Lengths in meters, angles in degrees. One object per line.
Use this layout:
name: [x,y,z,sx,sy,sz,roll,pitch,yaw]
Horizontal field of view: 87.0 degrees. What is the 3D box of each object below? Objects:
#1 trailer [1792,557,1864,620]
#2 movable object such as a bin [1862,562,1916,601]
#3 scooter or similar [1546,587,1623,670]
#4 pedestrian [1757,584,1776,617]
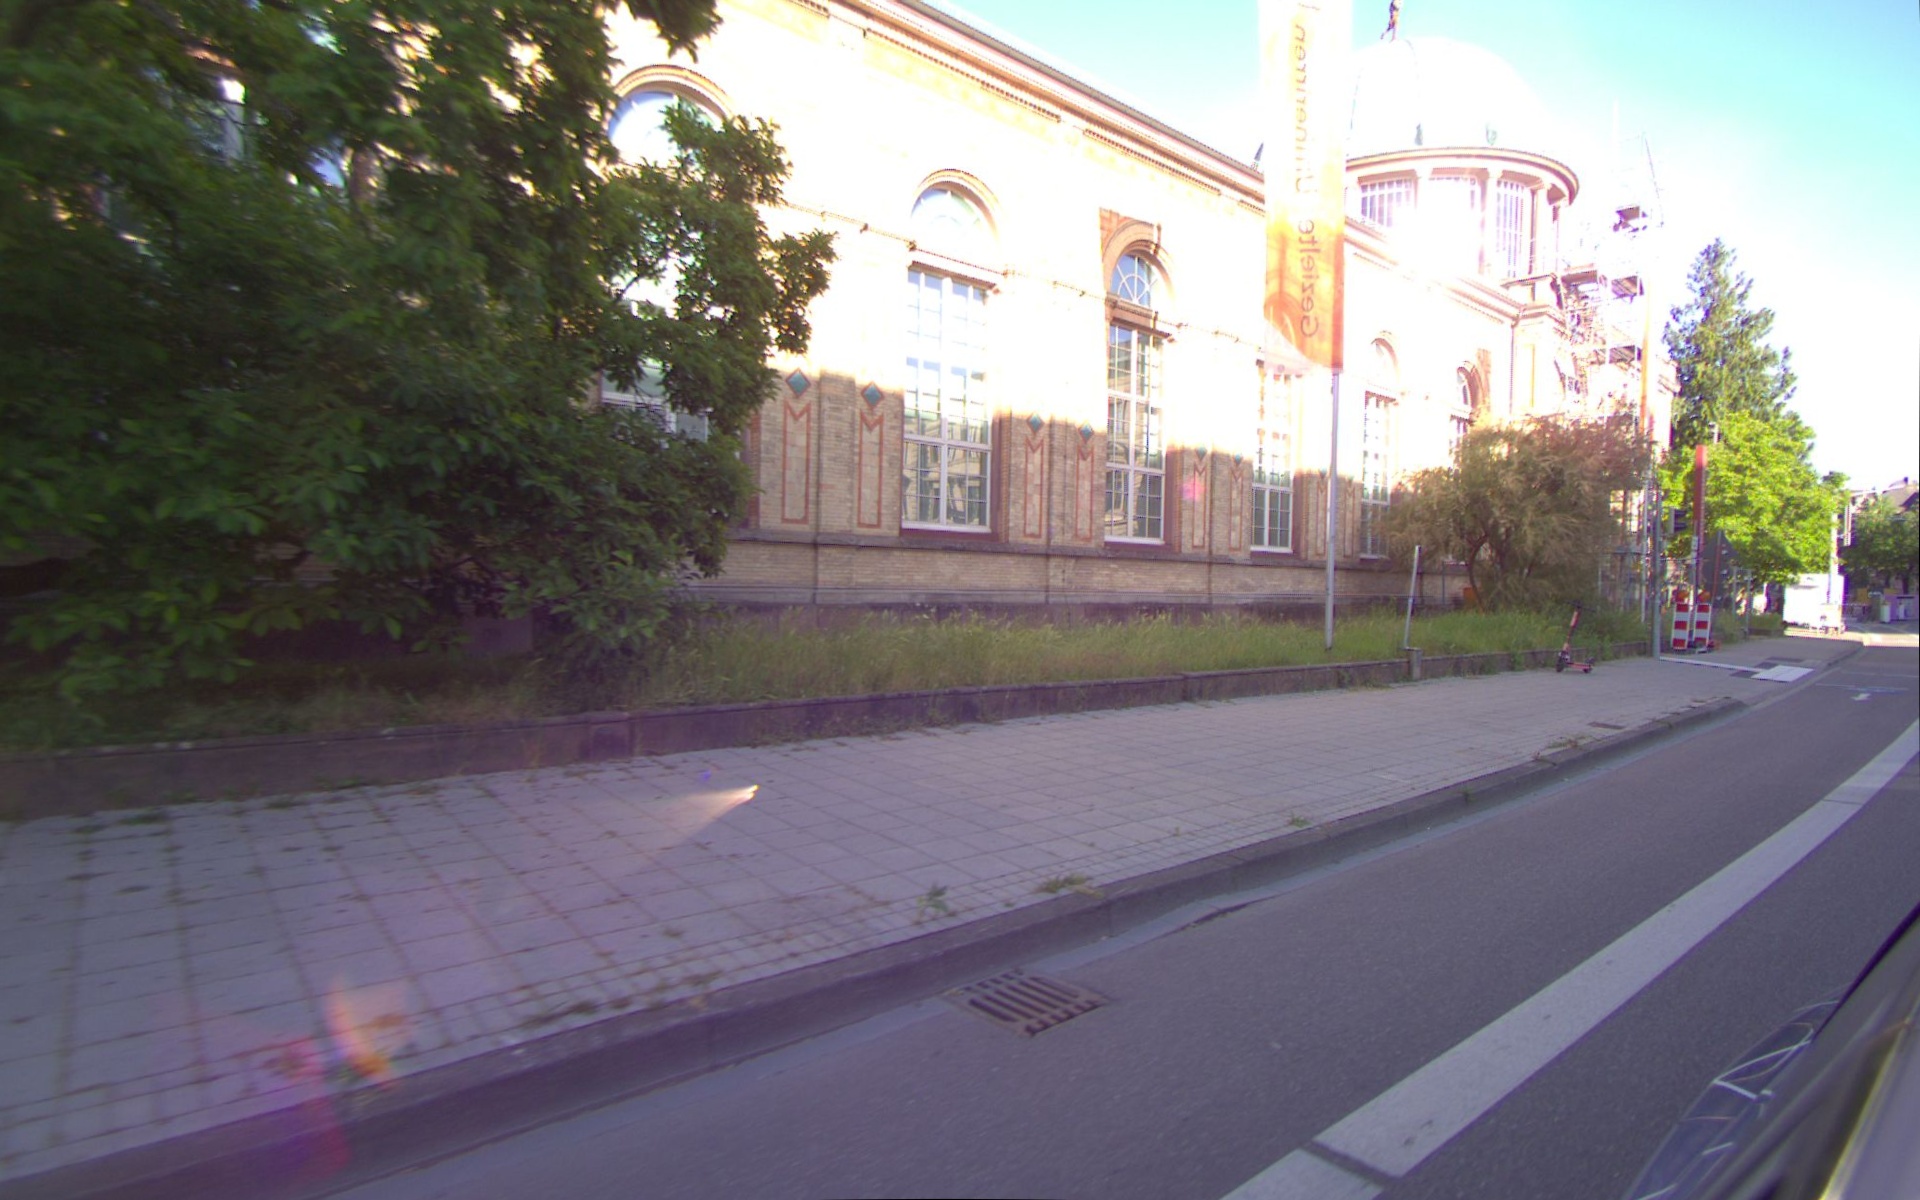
trailer: [38.237,-0.529,44.543,2.080,2.559,4.422,5,3,43]
movable object such as a bin: [83.958,-1.679,91.526,3.157,3.341,4.324,3,2,39]
scooter or similar: [10.593,0.454,17.148,1.800,1.325,0.556,0,1,-41]
pedestrian: [42.814,0.019,53.707,0.682,1.722,0.683,3,2,41]
